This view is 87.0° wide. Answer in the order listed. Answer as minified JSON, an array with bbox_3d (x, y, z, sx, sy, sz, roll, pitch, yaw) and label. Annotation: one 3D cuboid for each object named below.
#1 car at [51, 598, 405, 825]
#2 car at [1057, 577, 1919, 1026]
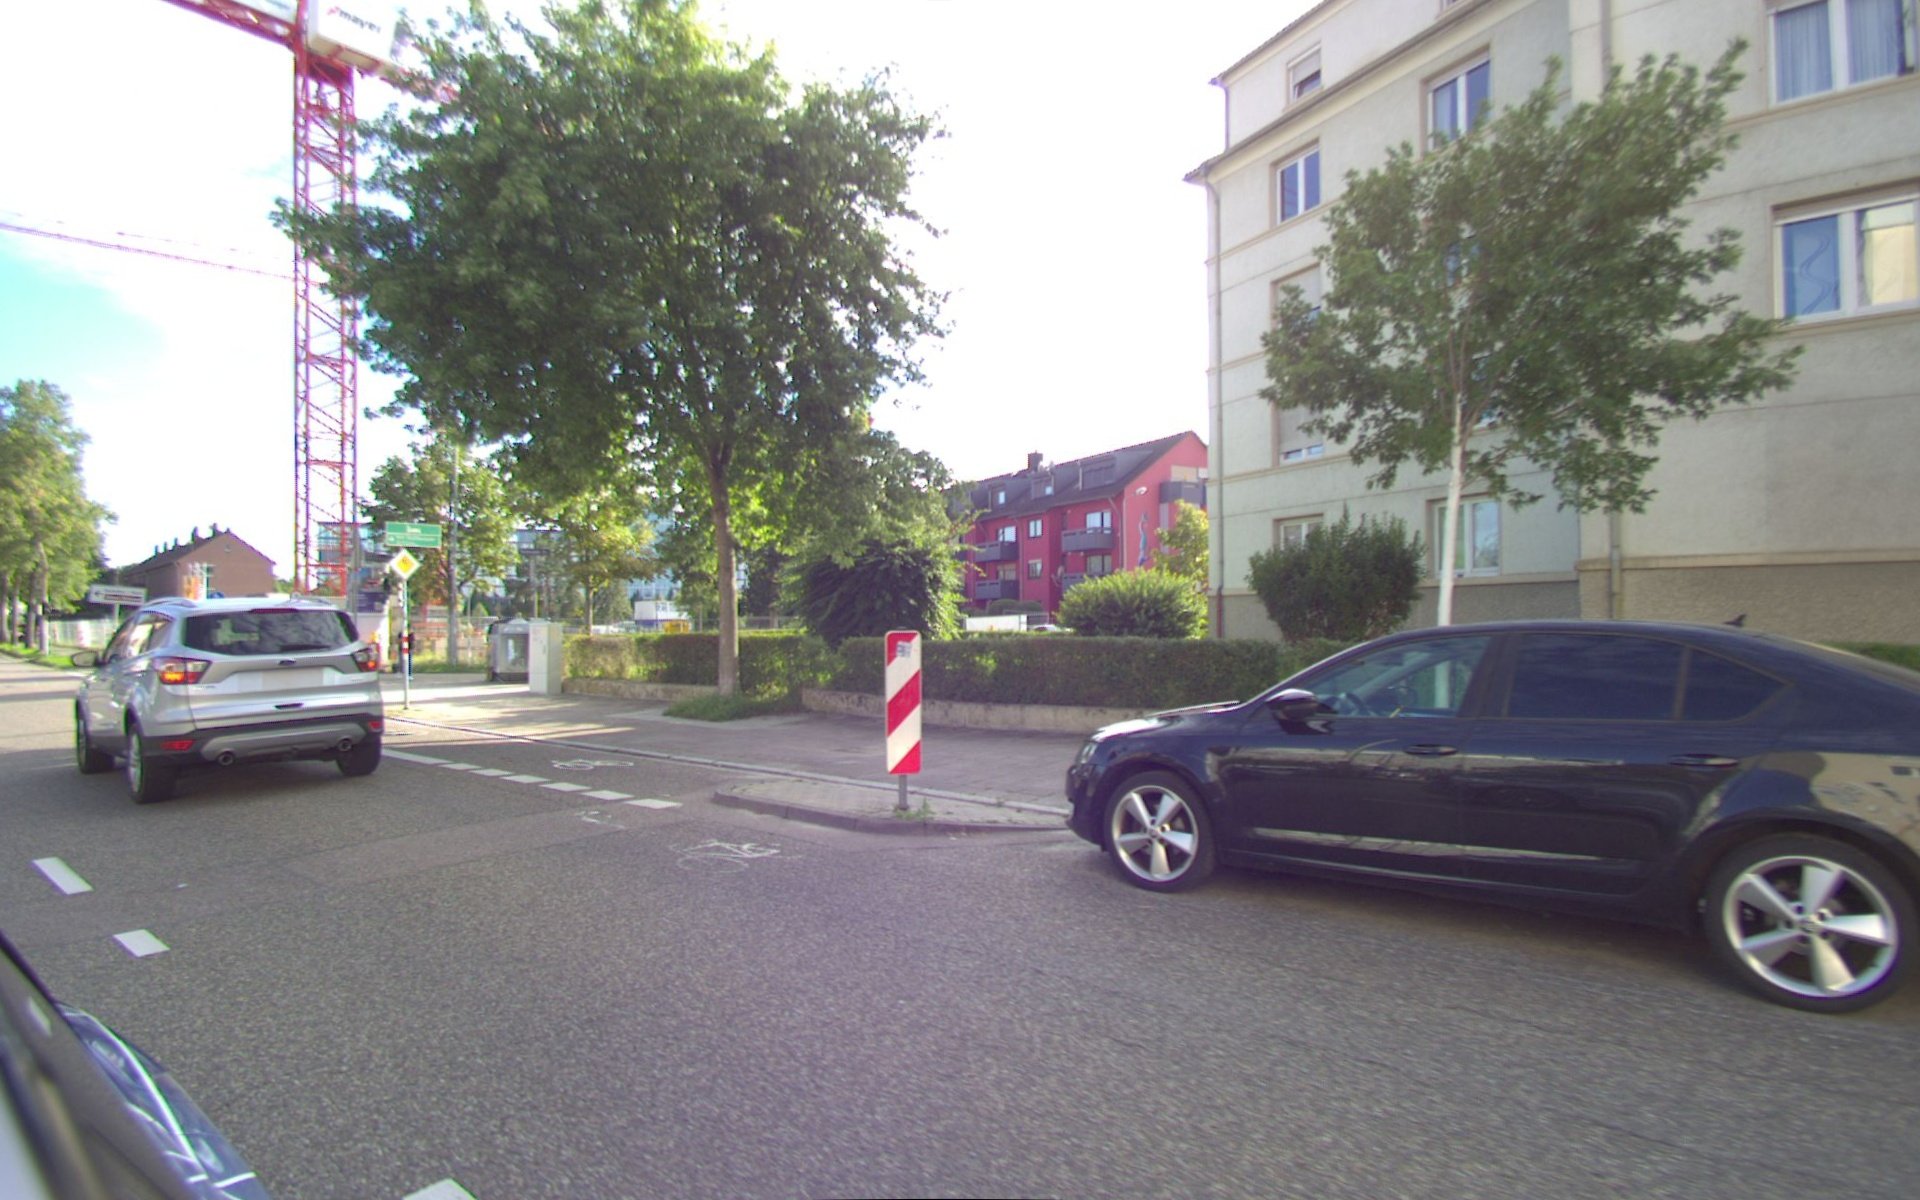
[{"bbox_3d":[-7.026,0.882,9.561,4.081,1.682,1.811,-2,-1,41],"label":"car"},{"bbox_3d":[2.842,0.757,4.926,4.415,1.497,1.908,-2,-4,39],"label":"car"}]
